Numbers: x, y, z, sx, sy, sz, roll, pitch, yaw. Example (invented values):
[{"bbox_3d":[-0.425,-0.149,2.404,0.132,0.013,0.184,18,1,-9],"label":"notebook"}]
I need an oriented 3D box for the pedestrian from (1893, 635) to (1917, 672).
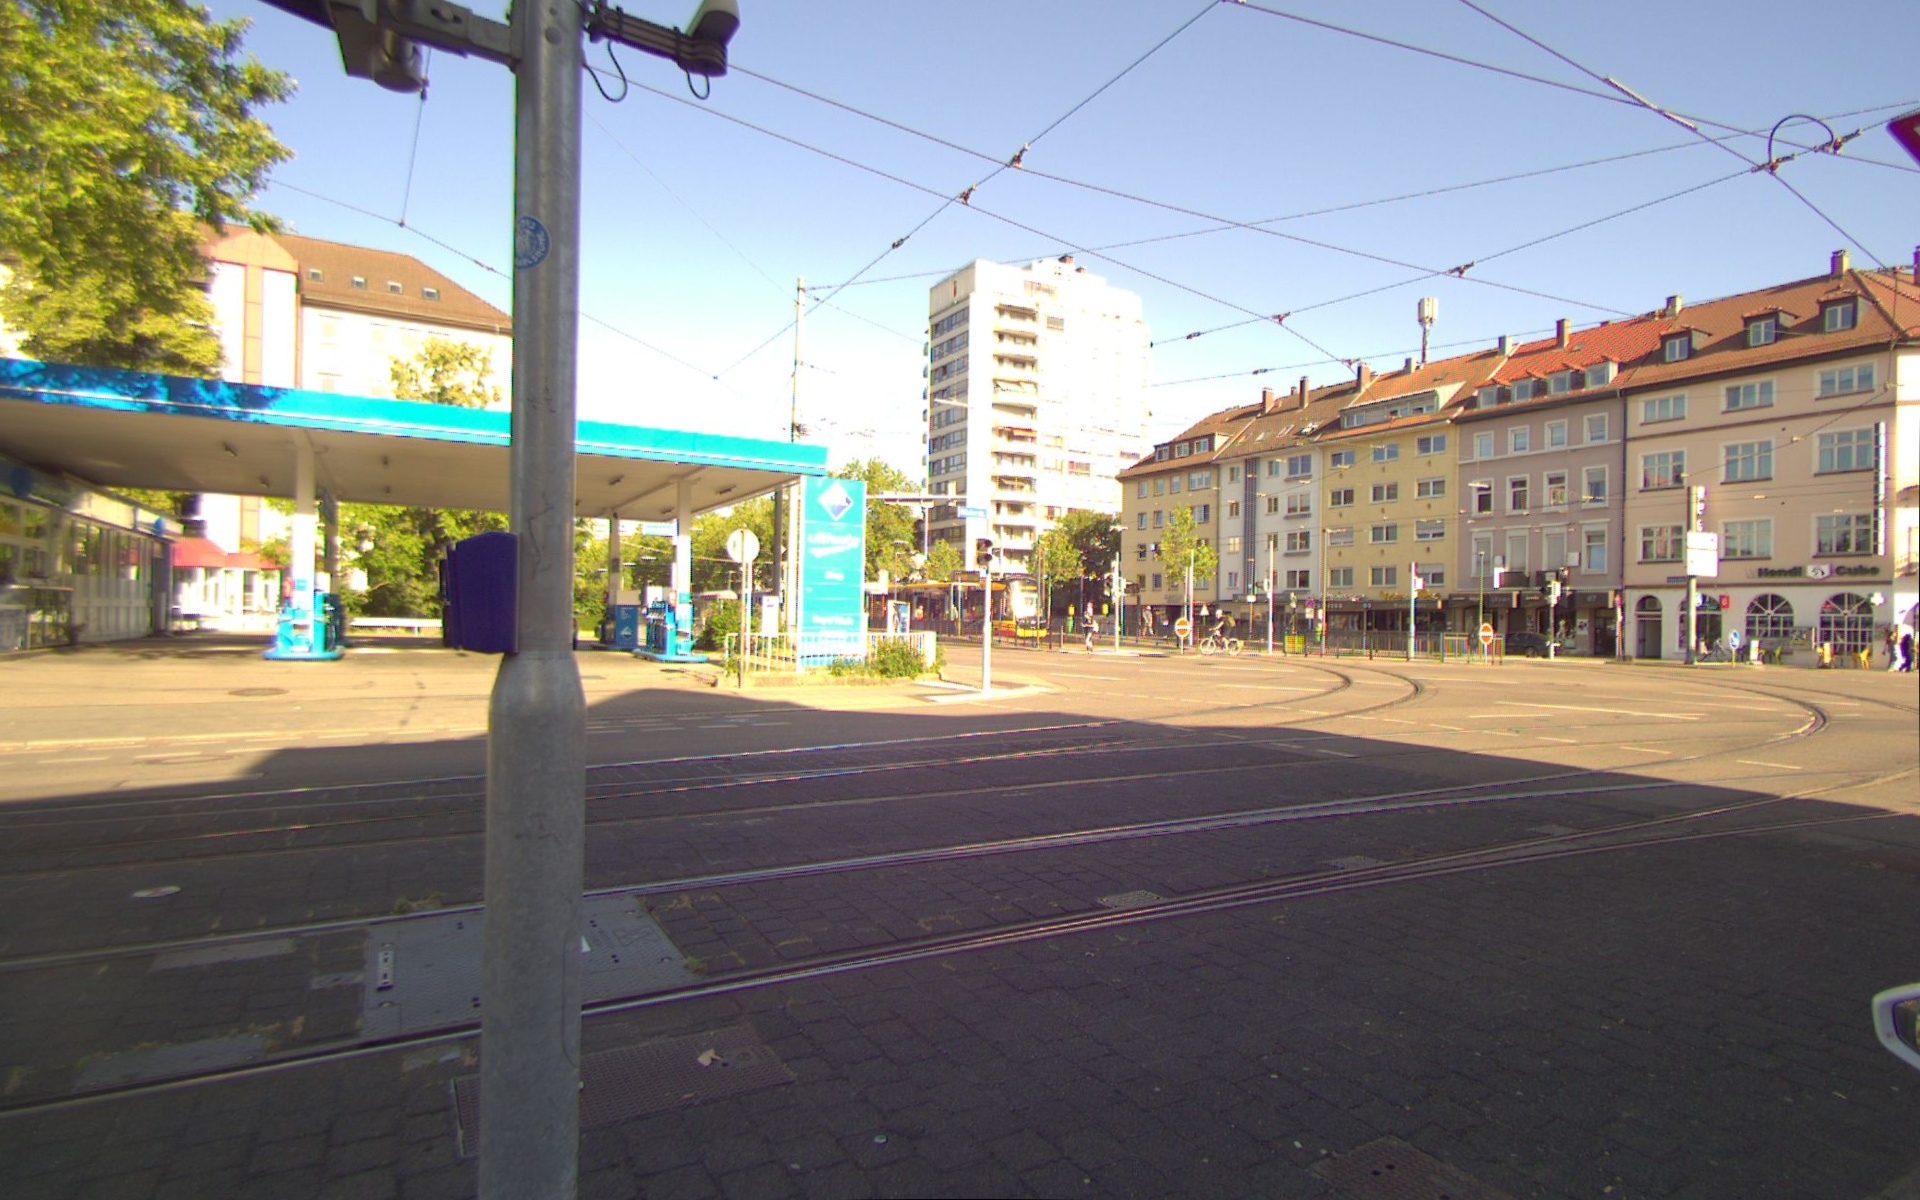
[{"bbox_3d":[40.193,2.272,42.733,0.460,1.496,0.629,2,0,-33],"label":"pedestrian"}]

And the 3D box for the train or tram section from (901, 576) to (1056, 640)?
[{"bbox_3d":[0.731,0.369,57.559,2.751,3.273,12.286,2,0,-31],"label":"train or tram section"}]

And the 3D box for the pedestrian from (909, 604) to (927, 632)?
[{"bbox_3d":[-2.397,1.031,57.374,0.814,1.532,0.699,1,-1,-33],"label":"pedestrian"}]

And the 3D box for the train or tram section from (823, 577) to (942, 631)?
[{"bbox_3d":[-5.511,0.199,68.039,2.751,3.273,12.286,2,0,-31],"label":"train or tram section"}]

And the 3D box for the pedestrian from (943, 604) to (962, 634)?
[{"bbox_3d":[-0.405,1.011,54.315,0.814,1.608,0.699,1,-1,-33],"label":"pedestrian"}]

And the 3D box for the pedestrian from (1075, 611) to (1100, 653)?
[{"bbox_3d":[5.103,1.265,40.110,0.675,1.656,0.694,2,0,-35],"label":"pedestrian"}]

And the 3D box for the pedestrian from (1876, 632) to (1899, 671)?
[{"bbox_3d":[40.243,2.229,43.590,0.460,1.633,0.629,2,0,-33],"label":"pedestrian"}]

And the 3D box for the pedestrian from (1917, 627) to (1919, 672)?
[{"bbox_3d":[41.201,2.104,42.696,0.460,1.906,0.629,2,0,-33],"label":"pedestrian"}]

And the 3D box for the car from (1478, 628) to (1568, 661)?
[{"bbox_3d":[30.858,2.417,55.136,1.970,1.692,3.981,1,-1,-21],"label":"car"}]

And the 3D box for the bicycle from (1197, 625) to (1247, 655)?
[{"bbox_3d":[10.155,1.532,38.910,1.759,1.084,0.575,2,0,1],"label":"bicycle"}]

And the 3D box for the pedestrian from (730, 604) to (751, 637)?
[{"bbox_3d":[-10.311,0.971,47.225,0.811,1.532,0.701,1,-1,-24],"label":"pedestrian"}]

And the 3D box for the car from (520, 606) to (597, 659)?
[{"bbox_3d":[-12.051,0.948,30.044,1.764,1.411,3.455,2,0,-28],"label":"car"}]

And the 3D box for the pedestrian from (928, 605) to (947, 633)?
[{"bbox_3d":[-1.268,1.060,55.833,0.814,1.532,0.699,1,-1,-33],"label":"pedestrian"}]

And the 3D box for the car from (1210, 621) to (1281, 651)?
[{"bbox_3d":[17.598,2.200,62.127,1.929,1.639,4.150,2,0,-27],"label":"car"}]

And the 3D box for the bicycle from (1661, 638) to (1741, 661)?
[{"bbox_3d":[37.503,2.491,50.892,0.989,0.993,3.115,2,0,-29],"label":"bicycle"}]

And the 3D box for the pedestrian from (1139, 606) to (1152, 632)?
[{"bbox_3d":[11.838,1.232,63.963,0.570,1.649,0.522,2,0,-31],"label":"pedestrian"}]

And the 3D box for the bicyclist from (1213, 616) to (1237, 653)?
[{"bbox_3d":[10.260,1.323,38.895,0.787,1.384,0.560,2,0,2],"label":"bicyclist"}]
